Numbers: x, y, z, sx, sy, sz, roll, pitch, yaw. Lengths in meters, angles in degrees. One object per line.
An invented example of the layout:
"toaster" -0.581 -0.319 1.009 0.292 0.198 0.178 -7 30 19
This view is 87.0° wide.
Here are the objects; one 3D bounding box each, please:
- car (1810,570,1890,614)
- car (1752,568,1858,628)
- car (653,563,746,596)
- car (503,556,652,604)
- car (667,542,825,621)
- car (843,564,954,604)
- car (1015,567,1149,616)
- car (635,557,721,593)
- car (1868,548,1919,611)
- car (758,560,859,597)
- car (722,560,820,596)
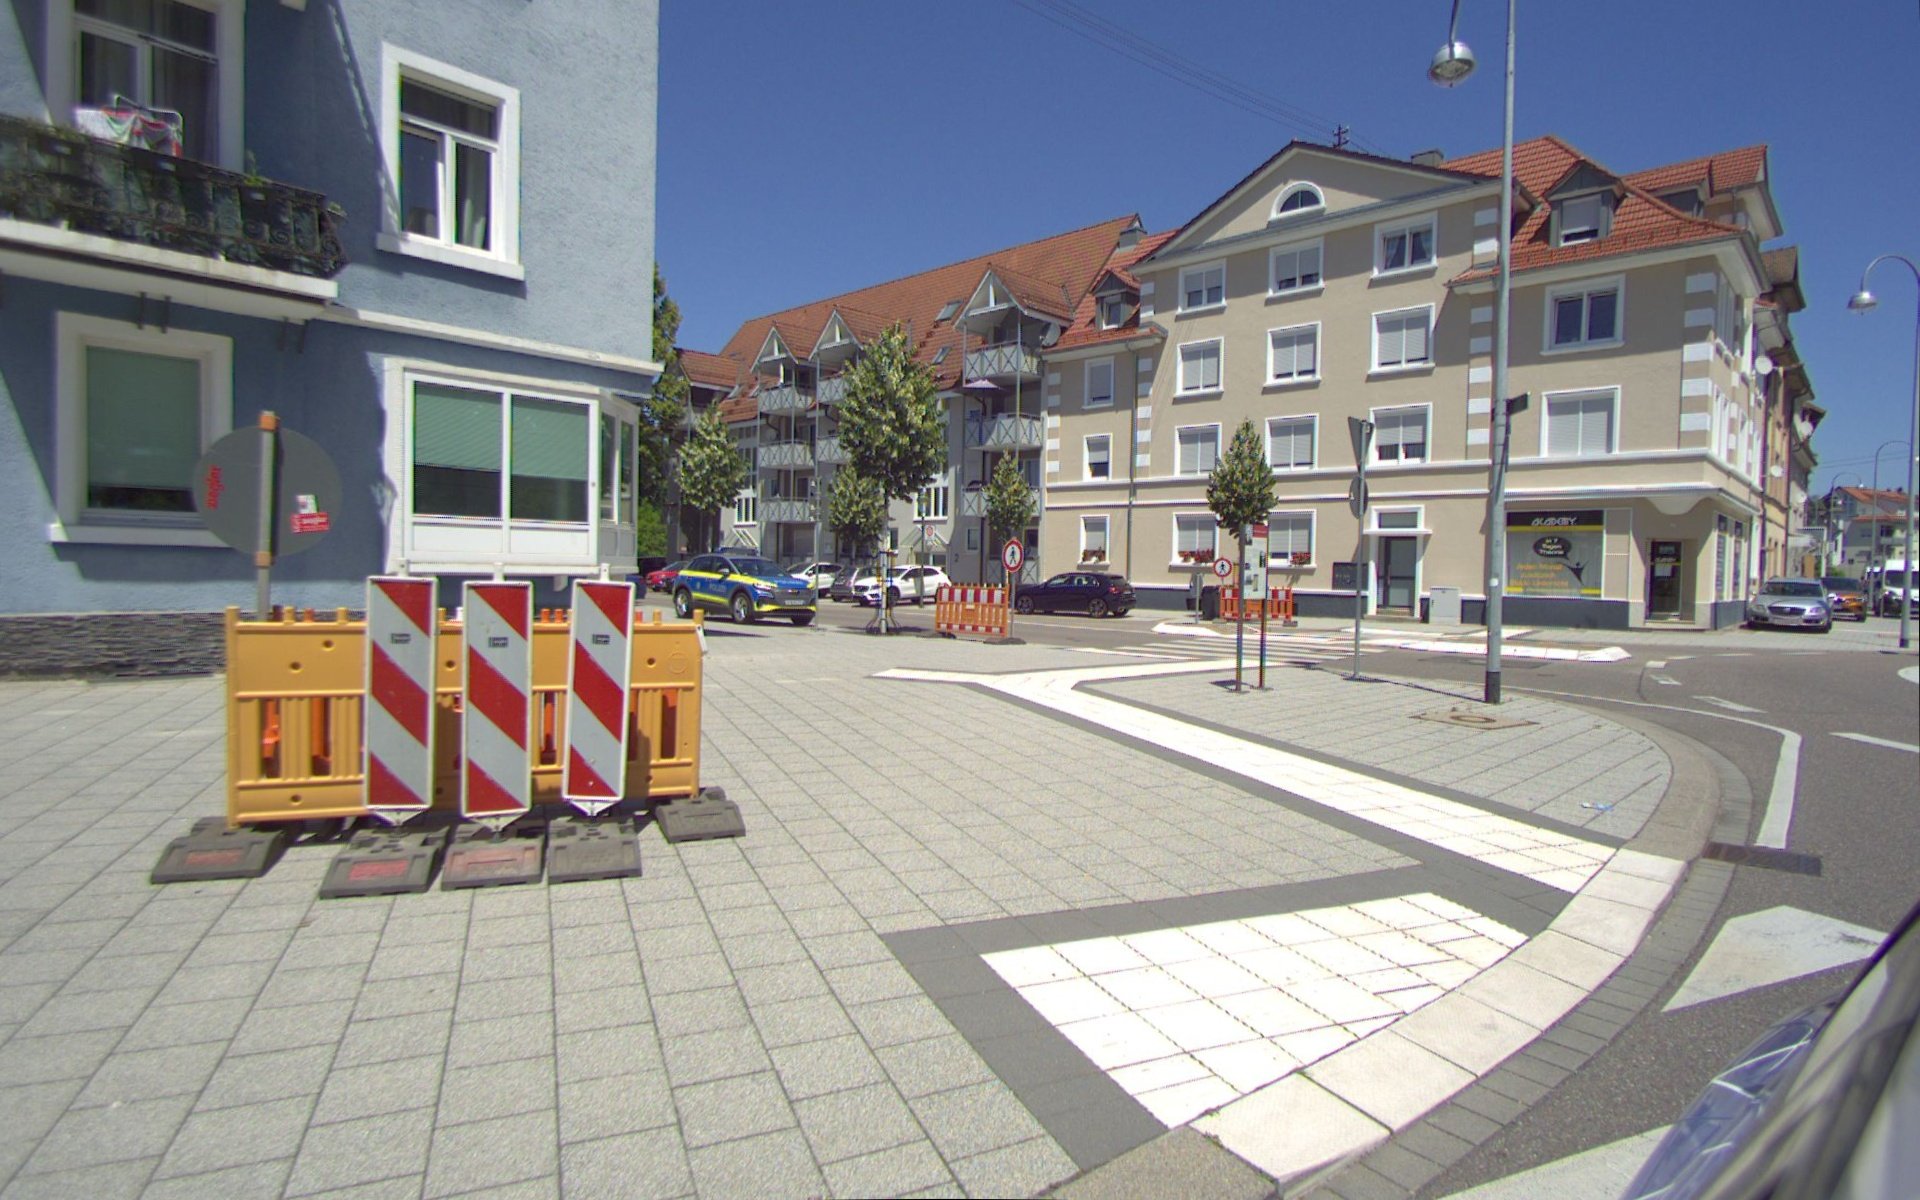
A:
"car" 32.583 -0.311 37.015 3.934 1.427 1.823 -1 5 -44
"car" 23.860 -0.111 28.546 3.935 1.427 1.823 -2 6 -44
"car" -12.844 -1.050 50.045 4.178 1.548 1.759 -2 3 -44
"car" -12.423 -0.635 32.999 4.177 1.439 1.759 1 1 -44
"car" -5.163 -0.455 24.084 1.733 1.720 4.239 1 1 -43
"car" -2.346 -0.661 39.319 4.178 1.463 1.806 -2 3 -44
"car" 3.967 -0.328 33.207 3.976 1.463 1.875 2 3 36
"car" -14.558 -1.322 52.357 3.935 1.765 1.806 -3 2 -44
"car" 40.522 -0.836 43.086 5.641 2.486 2.337 -1 4 -45
"car" -6.631 -0.989 44.625 4.178 1.548 1.759 -2 3 -44
"car" -8.652 -1.050 46.496 4.178 1.548 1.759 -2 3 -44
